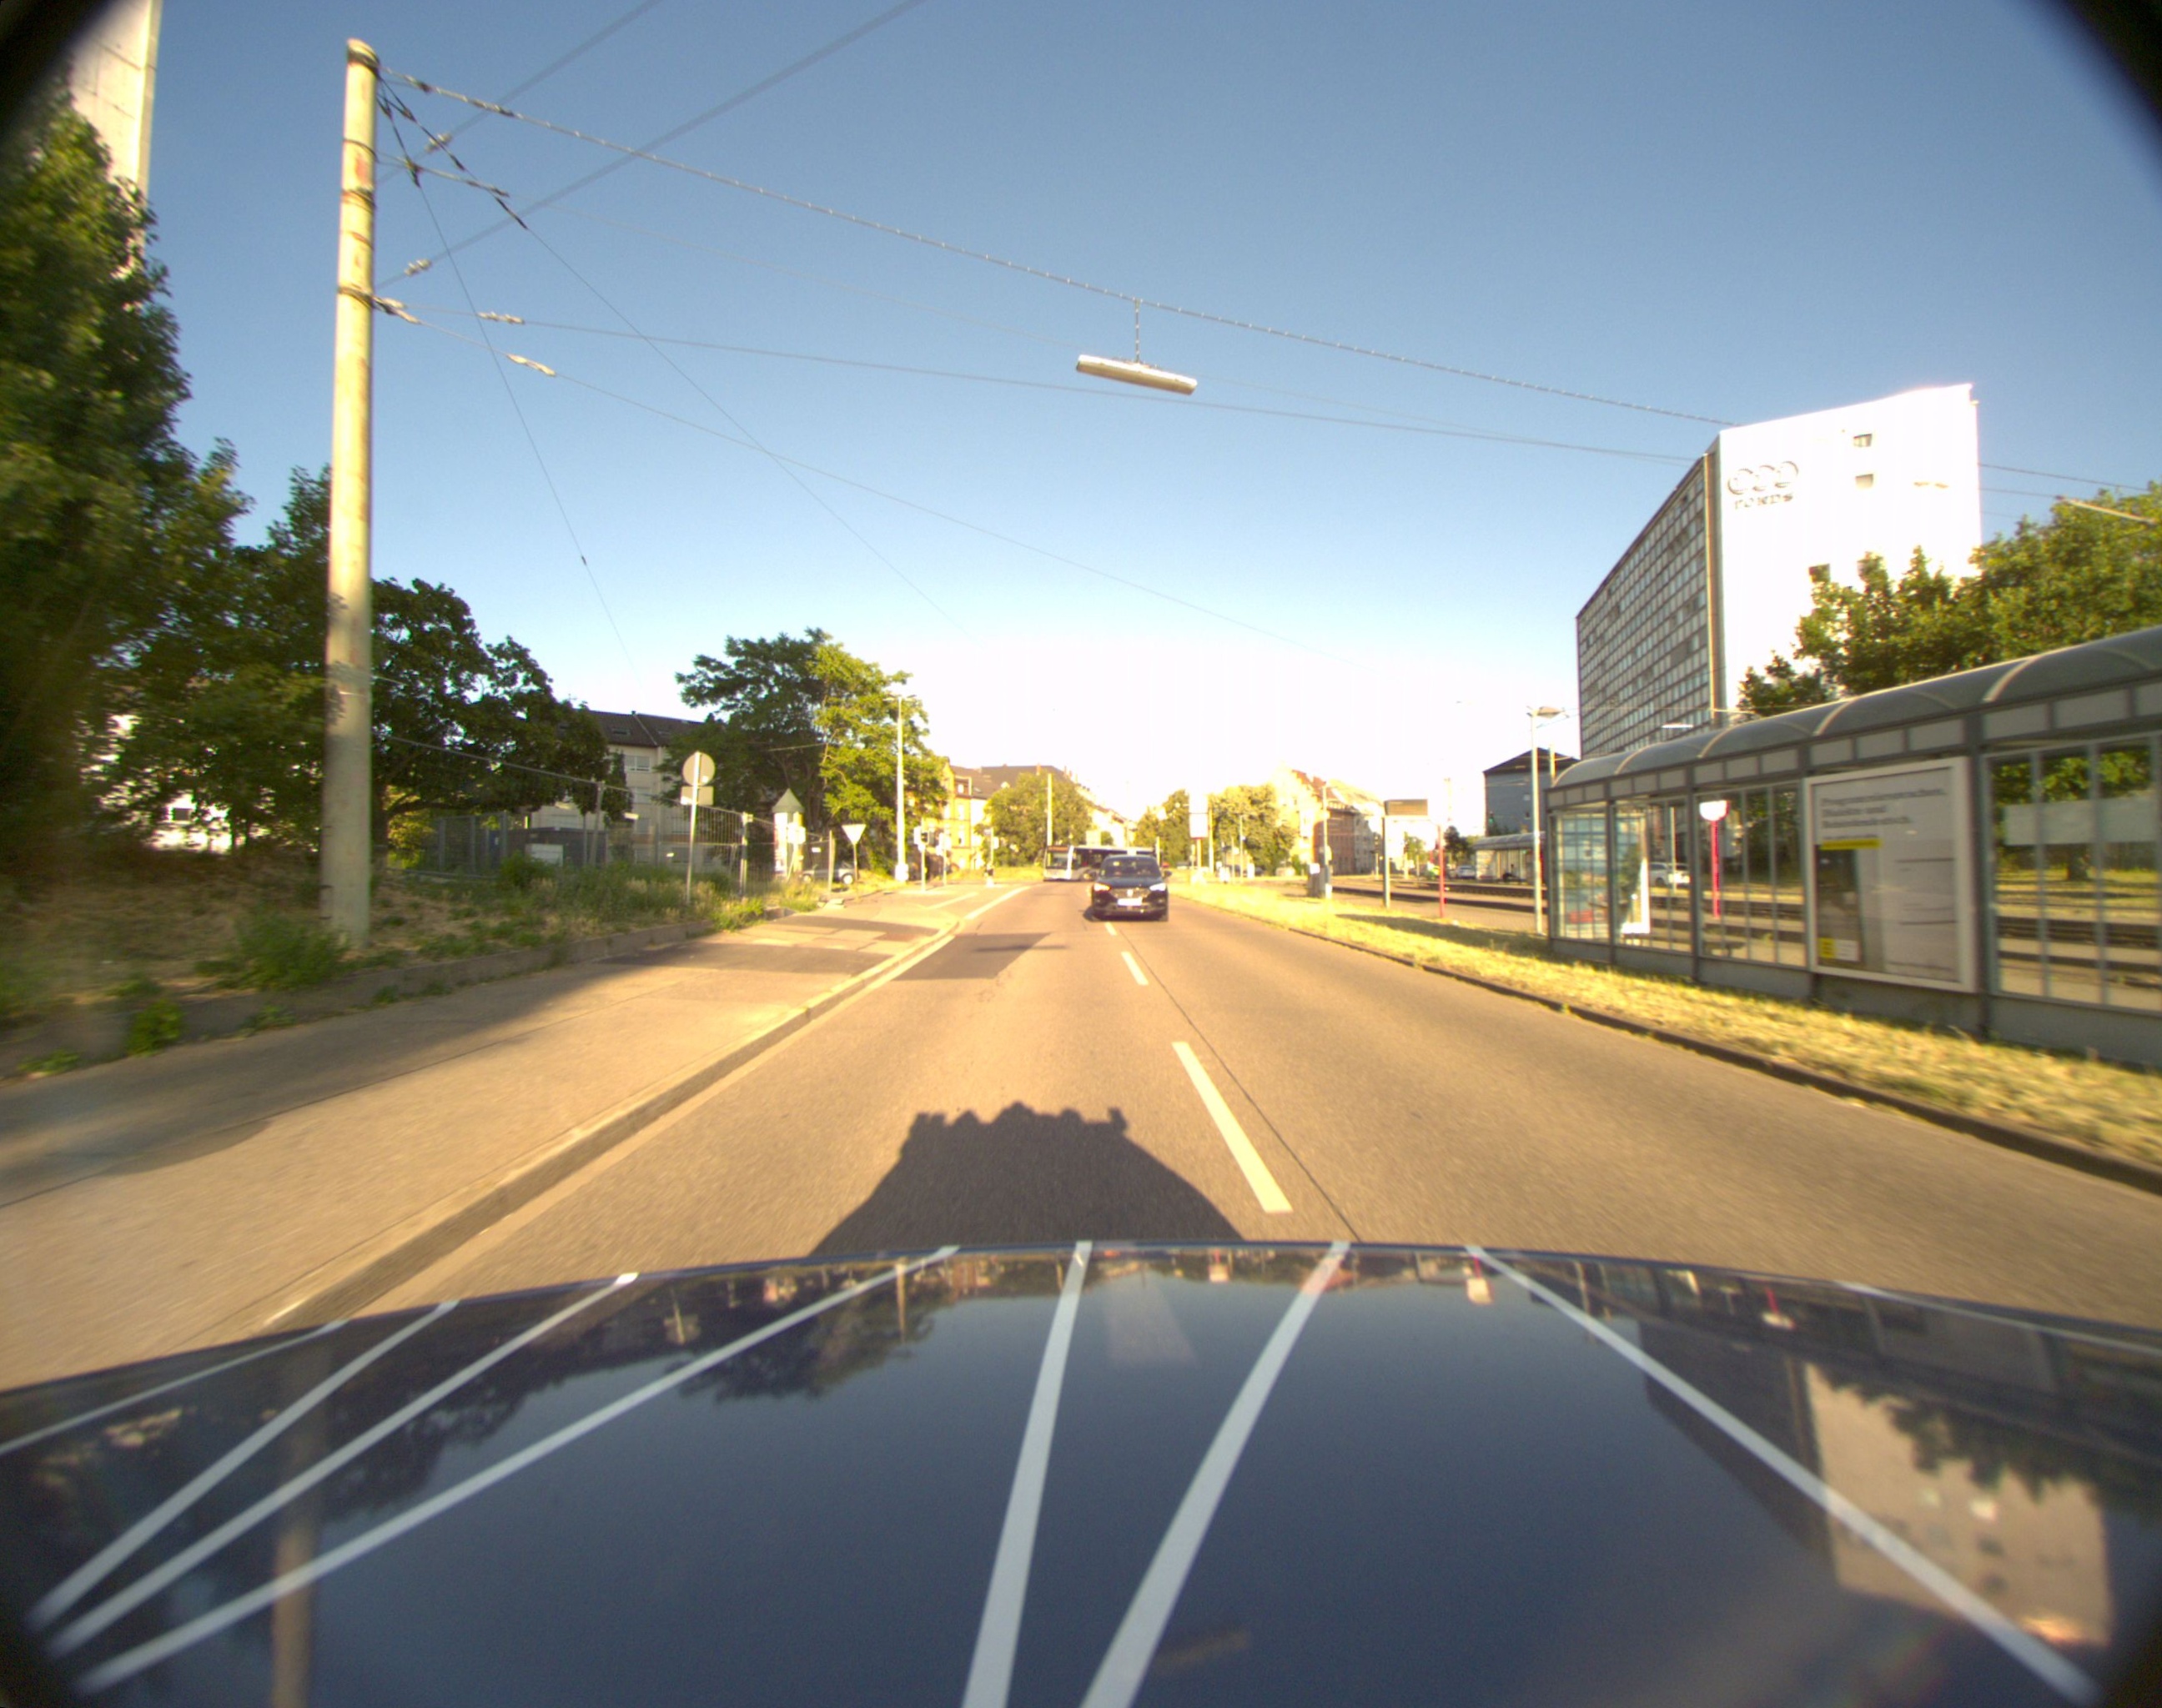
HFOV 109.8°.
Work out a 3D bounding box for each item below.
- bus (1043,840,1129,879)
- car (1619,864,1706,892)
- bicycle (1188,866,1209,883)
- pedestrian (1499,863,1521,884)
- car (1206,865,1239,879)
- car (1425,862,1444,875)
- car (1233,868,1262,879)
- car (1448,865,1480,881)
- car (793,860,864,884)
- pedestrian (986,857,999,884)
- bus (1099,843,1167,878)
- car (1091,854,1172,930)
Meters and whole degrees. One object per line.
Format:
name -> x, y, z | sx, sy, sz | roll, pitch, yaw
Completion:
bus -> 0.624, 0.457, 63.393 | 2.606, 3.007, 9.597 | 0, 0, 31
car -> 33.465, 1.360, 43.902 | 1.740, 1.539, 4.437 | -1, -1, 2
bicycle -> 6.976, 1.213, 45.018 | 0.606, 0.987, 1.750 | 0, 0, 30
pedestrian -> 26.757, 1.207, 47.405 | 0.954, 1.260, 0.662 | -1, 1, -3
car -> 16.360, 2.081, 87.848 | 3.987, 1.465, 1.737 | 0, -1, -43
car -> 40.893, 1.680, 87.833 | 1.737, 1.465, 4.137 | -1, -1, 28
car -> 21.930, 2.532, 100.085 | 3.987, 1.405, 1.737 | 0, -1, -43
car -> 36.777, 1.846, 73.063 | 1.739, 1.465, 4.134 | -1, -1, 13
car -> -16.796, 1.166, 50.494 | 4.337, 1.539, 1.816 | 0, 0, -23
pedestrian -> -5.320, 0.986, 45.635 | 0.592, 1.586, 0.548 | 0, 0, 35
bus -> 4.979, 0.609, 70.710 | 2.606, 3.007, 8.876 | 0, 0, 30
car -> 1.191, 0.862, 19.677 | 1.818, 1.670, 4.623 | -1, 1, 1
